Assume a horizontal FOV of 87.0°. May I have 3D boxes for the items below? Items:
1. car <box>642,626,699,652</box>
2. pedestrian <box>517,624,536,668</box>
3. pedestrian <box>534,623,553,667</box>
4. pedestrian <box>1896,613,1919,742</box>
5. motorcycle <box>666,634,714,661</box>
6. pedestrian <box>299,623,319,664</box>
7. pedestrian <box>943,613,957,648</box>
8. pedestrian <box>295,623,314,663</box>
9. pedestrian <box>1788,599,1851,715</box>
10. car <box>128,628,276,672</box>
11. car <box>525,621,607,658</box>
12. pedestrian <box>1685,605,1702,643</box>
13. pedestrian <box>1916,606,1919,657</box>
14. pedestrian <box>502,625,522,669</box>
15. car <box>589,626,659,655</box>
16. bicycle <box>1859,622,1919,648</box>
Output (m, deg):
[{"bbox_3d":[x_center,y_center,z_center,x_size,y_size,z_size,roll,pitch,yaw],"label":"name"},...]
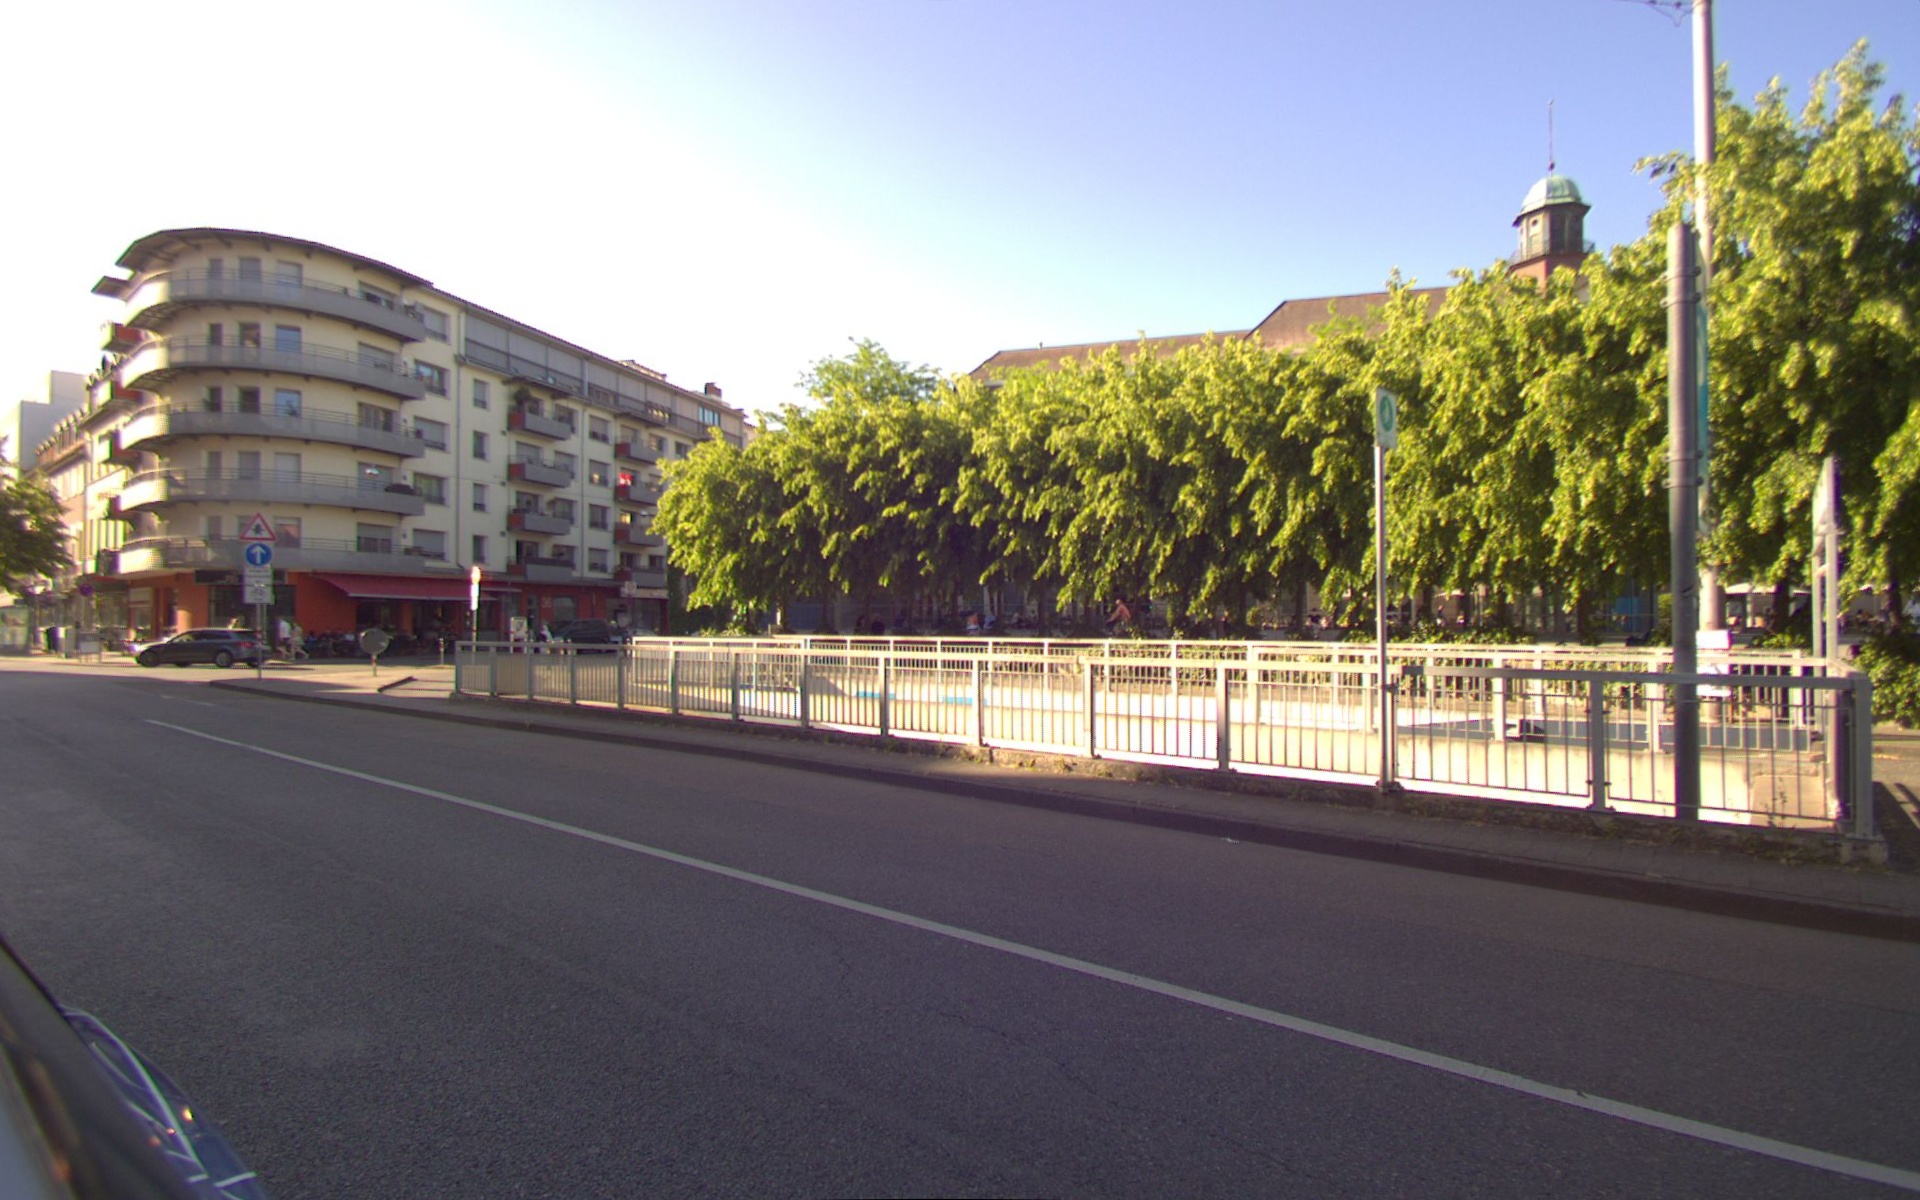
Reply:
[{"bbox_3d":[-18.989,2.541,66.564,1.776,1.633,3.914,-1,-1,17],"label":"car"},{"bbox_3d":[-18.165,1.903,42.432,0.574,1.806,0.602,-1,0,-4],"label":"pedestrian"},{"bbox_3d":[-17.727,1.905,43.066,0.574,1.806,0.601,-1,0,0],"label":"pedestrian"},{"bbox_3d":[14.236,1.128,14.882,0.600,1.870,0.575,-1,-1,38],"label":"pedestrian"},{"bbox_3d":[-11.620,2.042,43.555,1.898,1.110,0.684,0,-1,-27],"label":"motorcycle"},{"bbox_3d":[-27.985,1.866,43.508,0.642,1.721,0.568,-2,-2,43],"label":"pedestrian"},{"bbox_3d":[-0.522,1.588,52.751,0.578,1.806,0.597,-1,-1,21],"label":"pedestrian"},{"bbox_3d":[-28.505,1.872,43.979,0.642,1.721,0.568,-2,-2,43],"label":"pedestrian"},{"bbox_3d":[14.223,0.926,16.760,0.674,1.870,0.577,-1,-1,30],"label":"pedestrian"},{"bbox_3d":[-26.699,1.746,35.738,3.869,1.407,1.808,-1,-1,-2],"label":"car"},{"bbox_3d":[-21.692,2.157,55.844,1.938,1.927,4.402,-1,-1,17],"label":"car"},{"bbox_3d":[35.014,1.135,48.321,0.599,1.806,0.576,-1,-1,31],"label":"pedestrian"},{"bbox_3d":[34.712,1.124,36.195,0.598,1.806,0.577,-1,-1,27],"label":"pedestrian"},{"bbox_3d":[-18.451,1.923,41.706,0.574,1.806,0.602,-1,0,-4],"label":"pedestrian"},{"bbox_3d":[-20.243,2.433,61.234,1.938,1.633,4.272,-1,-1,17],"label":"car"},{"bbox_3d":[38.823,1.443,42.322,0.496,1.024,2.061,-1,0,-3],"label":"bicycle"}]
